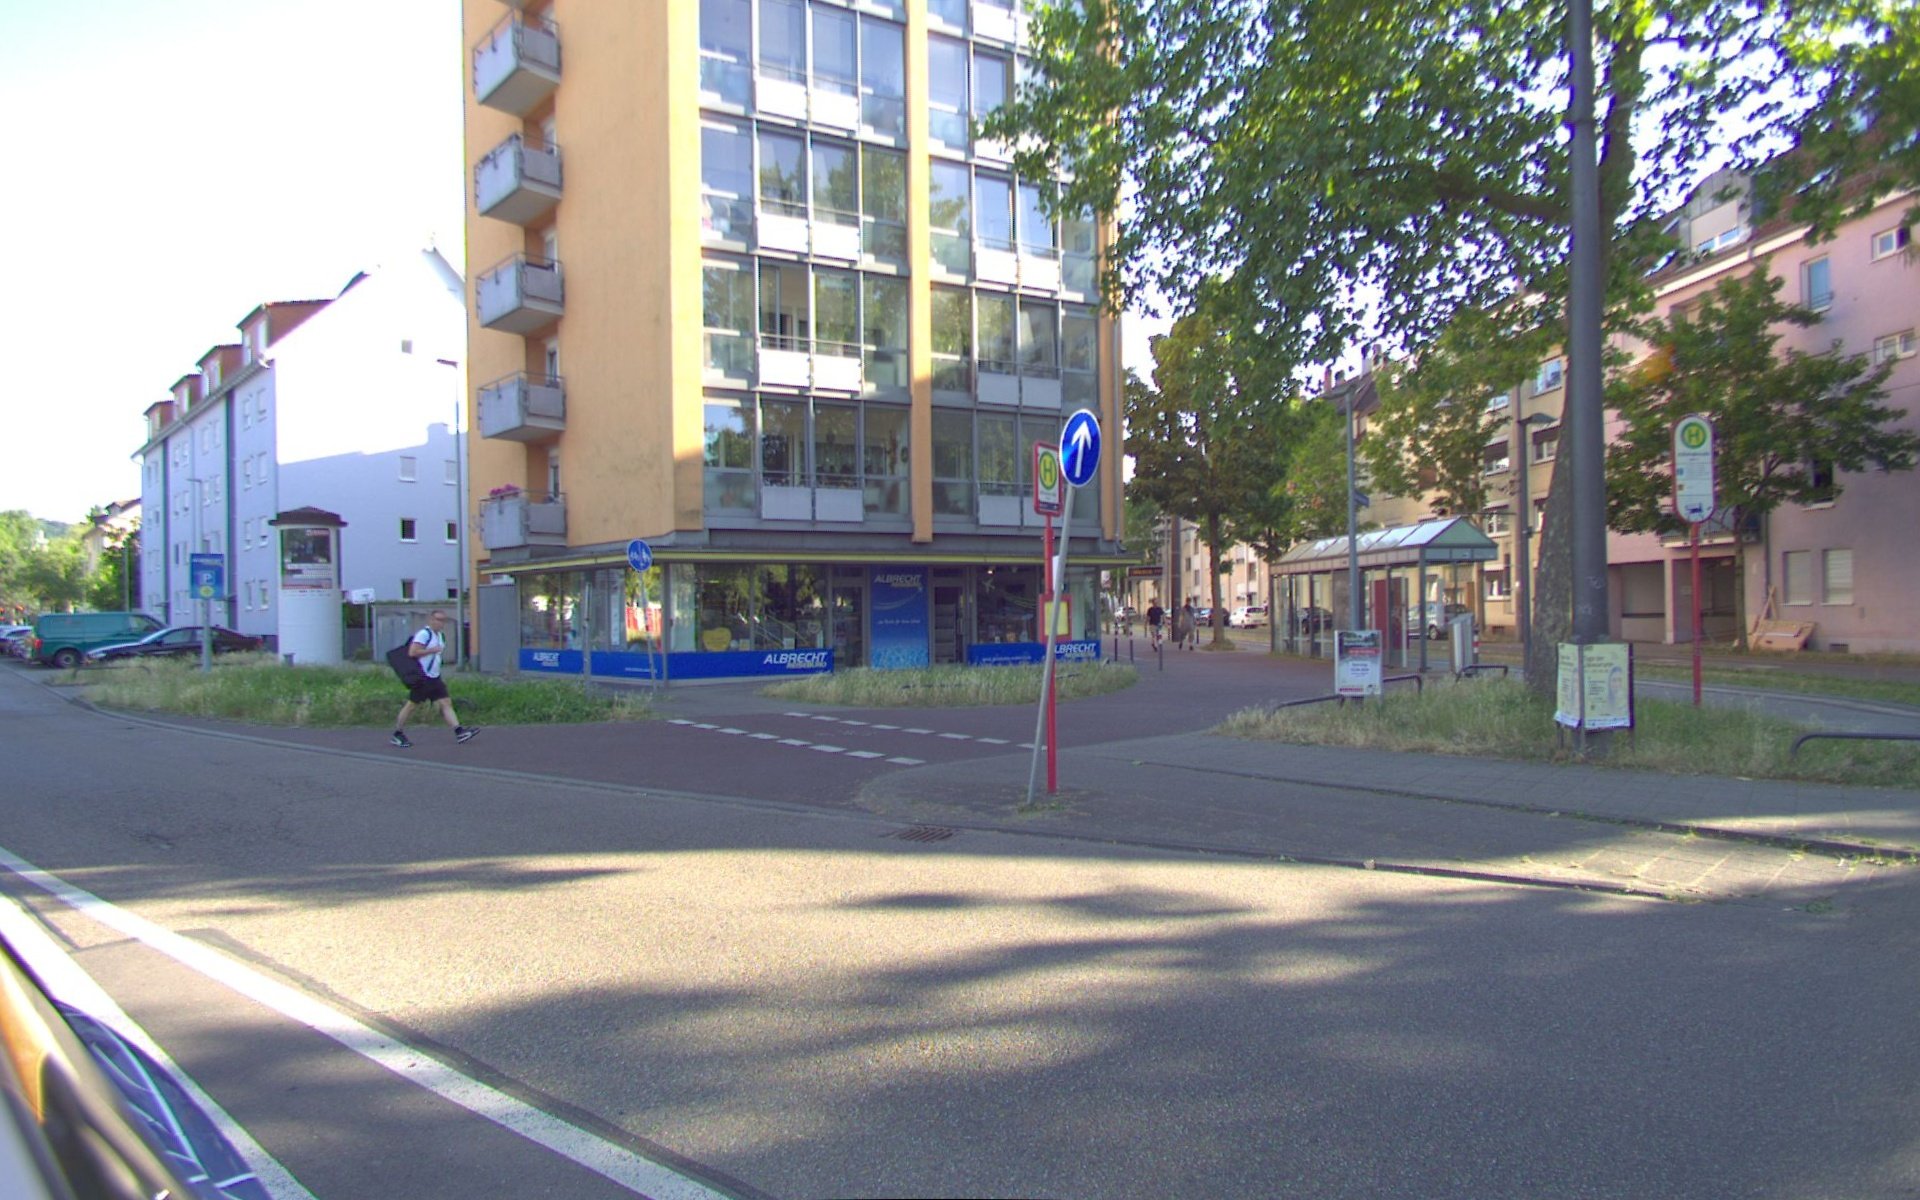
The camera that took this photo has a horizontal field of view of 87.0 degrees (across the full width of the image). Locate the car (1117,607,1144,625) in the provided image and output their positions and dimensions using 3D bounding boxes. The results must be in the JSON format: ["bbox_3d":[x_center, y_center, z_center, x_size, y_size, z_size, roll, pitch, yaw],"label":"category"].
[{"bbox_3d":[17.746,1.637,105.543,1.911,1.719,4.372,-1,0,-3],"label":"car"}]

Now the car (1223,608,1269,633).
[{"bbox_3d":[19.180,1.346,68.049,1.741,1.588,4.049,-1,0,-3],"label":"car"}]

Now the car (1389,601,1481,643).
[{"bbox_3d":[20.753,0.908,44.429,1.911,1.719,4.115,-1,0,-3],"label":"car"}]

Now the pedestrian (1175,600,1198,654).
[{"bbox_3d":[7.415,0.870,33.105,0.622,1.763,0.689,-1,0,6],"label":"pedestrian"}]

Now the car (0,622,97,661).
[{"bbox_3d":[-46.110,2.041,50.868,4.061,1.785,1.758,-1,0,-44],"label":"car"}]

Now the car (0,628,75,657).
[{"bbox_3d":[-55.652,2.506,60.385,4.199,1.585,1.867,-1,0,-44],"label":"car"}]

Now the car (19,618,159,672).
[{"bbox_3d":[-33.114,1.651,38.532,3.941,1.829,2.001,-1,0,-44],"label":"car"}]

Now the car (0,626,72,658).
[{"bbox_3d":[-55.785,2.476,60.438,4.016,1.765,1.900,-1,0,-44],"label":"car"}]

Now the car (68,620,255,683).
[{"bbox_3d":[-24.267,1.511,30.866,4.361,1.674,2.003,-1,0,-41],"label":"car"}]

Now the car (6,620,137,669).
[{"bbox_3d":[-36.851,1.810,42.013,4.003,1.829,1.938,-1,0,-44],"label":"car"}]

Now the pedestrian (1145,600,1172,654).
[{"bbox_3d":[6.509,0.882,33.275,0.803,1.763,0.538,-1,0,6],"label":"pedestrian"}]

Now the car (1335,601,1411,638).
[{"bbox_3d":[19.913,0.918,48.984,1.911,1.719,3.827,-1,0,-3],"label":"car"}]

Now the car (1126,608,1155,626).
[{"bbox_3d":[17.795,1.637,99.870,1.911,1.719,4.003,-1,0,-3],"label":"car"}]

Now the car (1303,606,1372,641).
[{"bbox_3d":[19.924,1.202,53.597,1.911,1.719,4.115,-1,0,-3],"label":"car"}]

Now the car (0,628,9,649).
[{"bbox_3d":[-74.750,2.992,76.967,3.490,1.585,1.867,-1,0,-44],"label":"car"}]

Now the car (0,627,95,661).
[{"bbox_3d":[-48.113,2.278,52.959,4.199,1.585,1.867,-1,0,-44],"label":"car"}]

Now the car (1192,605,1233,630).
[{"bbox_3d":[18.713,1.266,75.154,1.808,1.719,4.059,-1,0,-3],"label":"car"}]

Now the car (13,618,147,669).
[{"bbox_3d":[-35.114,1.677,40.435,3.941,1.829,2.001,-1,0,-44],"label":"car"}]

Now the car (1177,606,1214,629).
[{"bbox_3d":[18.652,1.351,80.343,1.771,1.719,4.170,-1,0,-3],"label":"car"}]

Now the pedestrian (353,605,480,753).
[{"bbox_3d":[-6.772,0.952,12.637,1.080,1.750,0.897,-1,0,19],"label":"pedestrian"}]

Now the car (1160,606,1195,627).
[{"bbox_3d":[18.441,1.393,85.797,1.830,1.719,4.170,-1,0,-3],"label":"car"}]

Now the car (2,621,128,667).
[{"bbox_3d":[-38.821,1.868,43.931,4.016,1.765,1.900,-1,0,-44],"label":"car"}]

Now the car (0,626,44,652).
[{"bbox_3d":[-63.487,2.607,66.997,4.199,1.585,1.867,-1,0,-44],"label":"car"}]

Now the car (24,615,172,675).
[{"bbox_3d":[-31.209,1.560,36.689,2.001,1.962,3.942,-1,0,44],"label":"car"}]
